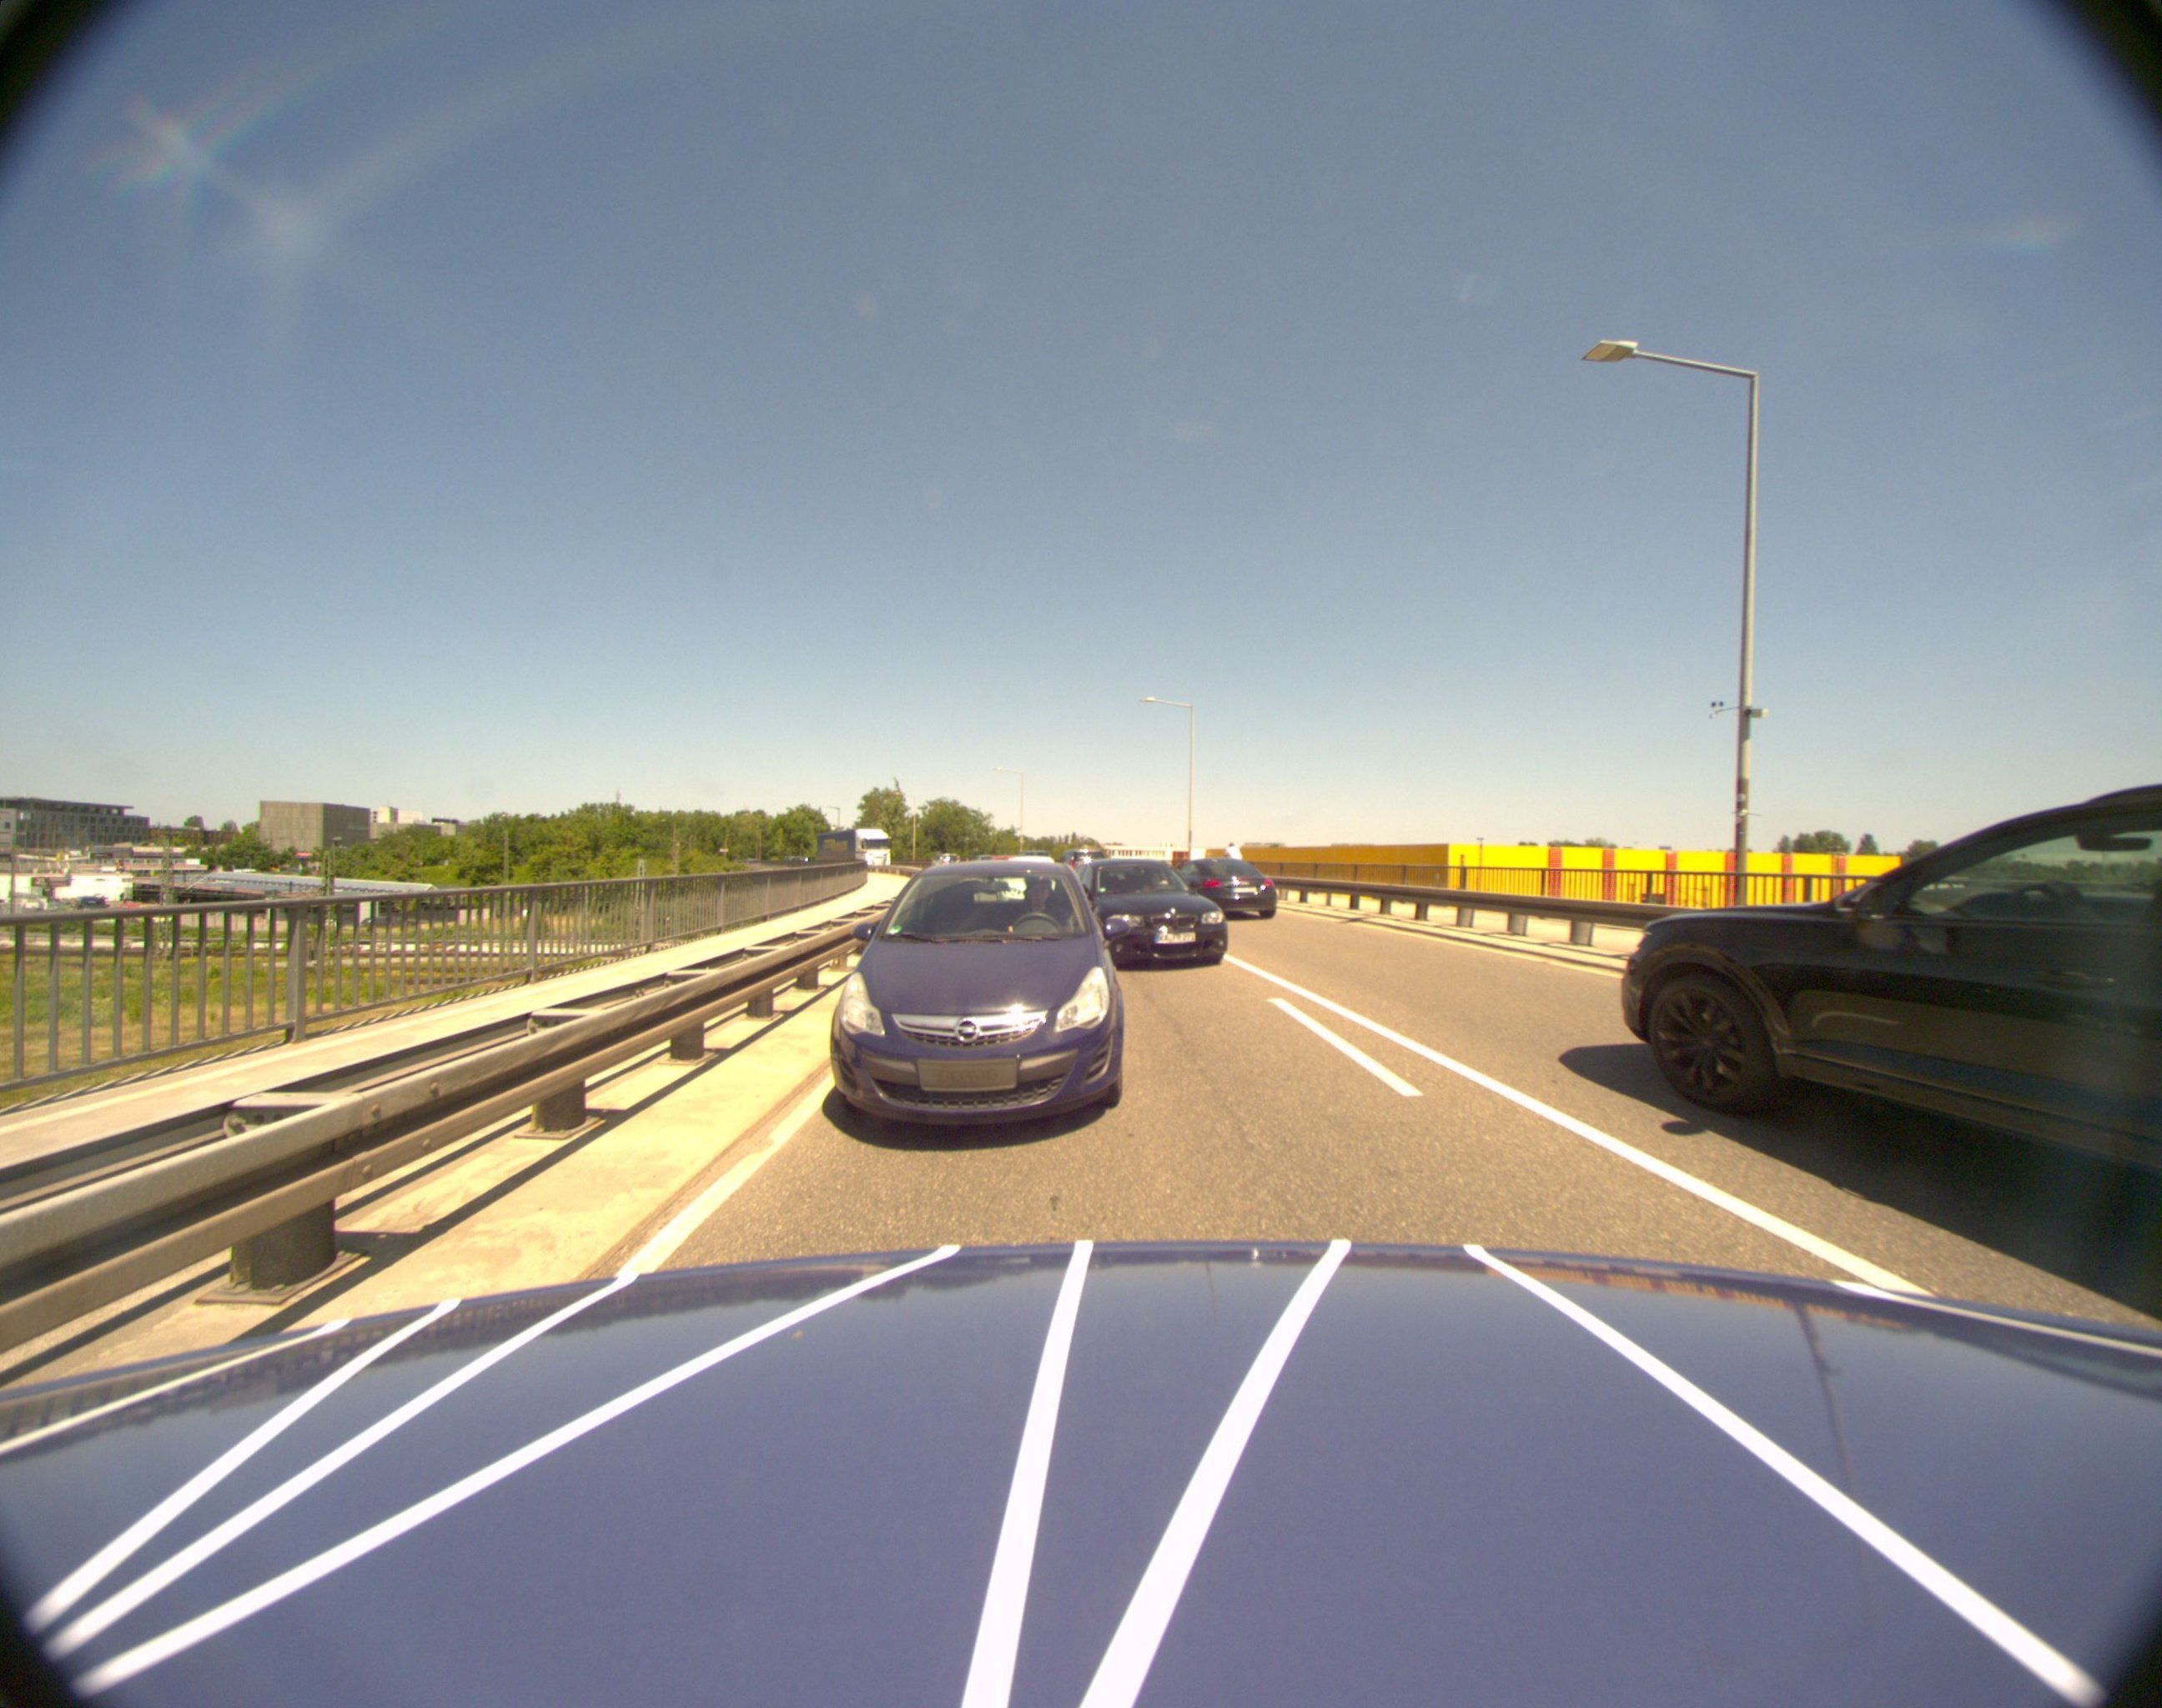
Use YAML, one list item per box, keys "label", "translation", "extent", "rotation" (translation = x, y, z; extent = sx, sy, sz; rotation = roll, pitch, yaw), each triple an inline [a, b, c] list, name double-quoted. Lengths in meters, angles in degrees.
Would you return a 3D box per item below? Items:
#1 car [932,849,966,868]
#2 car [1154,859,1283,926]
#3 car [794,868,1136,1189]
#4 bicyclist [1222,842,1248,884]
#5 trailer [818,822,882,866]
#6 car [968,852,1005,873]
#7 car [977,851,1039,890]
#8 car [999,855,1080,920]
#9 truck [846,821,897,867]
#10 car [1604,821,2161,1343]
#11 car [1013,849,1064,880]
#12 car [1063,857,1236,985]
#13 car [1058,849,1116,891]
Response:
- label: "car"
  translation: [-11.474, 0.368, 65.843]
  extent: [1.744, 1.571, 4.167]
  rotation: [-1, 1, -26]
- label: "car"
  translation: [3.047, 0.803, 17.710]
  extent: [1.684, 1.300, 3.969]
  rotation: [-1, 0, -10]
- label: "car"
  translation: [-0.683, 0.895, 5.768]
  extent: [1.645, 1.431, 3.998]
  rotation: [-2, 1, -4]
- label: "bicyclist"
  translation: [5.677, 0.334, 28.038]
  extent: [0.585, 1.512, 0.895]
  rotation: [-1, 1, -12]
- label: "trailer"
  translation: [-24.449, -1.029, 79.859]
  extent: [2.706, 4.211, 12.680]
  rotation: [-3, 2, -34]
- label: "car"
  translation: [-6.870, 0.591, 54.832]
  extent: [1.704, 1.368, 3.992]
  rotation: [-1, 1, -22]
- label: "car"
  translation: [-3.101, 0.643, 31.359]
  extent: [1.796, 1.446, 4.517]
  rotation: [-2, 0, -15]
- label: "car"
  translation: [-1.237, 0.811, 20.538]
  extent: [1.795, 1.447, 4.519]
  rotation: [-2, 1, -8]
- label: "truck"
  translation: [-20.407, -0.996, 73.699]
  extent: [2.701, 4.205, 6.822]
  rotation: [-3, 2, -33]
- label: "car"
  translation: [4.432, 0.709, 2.619]
  extent: [1.971, 1.663, 4.612]
  rotation: [-2, 0, -2]
- label: "car"
  translation: [-2.470, 0.557, 43.251]
  extent: [1.808, 1.631, 4.293]
  rotation: [-1, 1, -18]
- label: "car"
  translation: [0.794, 0.825, 11.516]
  extent: [1.795, 1.447, 4.520]
  rotation: [-1, 1, -5]
- label: "car"
  translation: [0.175, 0.594, 31.921]
  extent: [1.712, 1.617, 4.248]
  rotation: [-1, 1, -10]
